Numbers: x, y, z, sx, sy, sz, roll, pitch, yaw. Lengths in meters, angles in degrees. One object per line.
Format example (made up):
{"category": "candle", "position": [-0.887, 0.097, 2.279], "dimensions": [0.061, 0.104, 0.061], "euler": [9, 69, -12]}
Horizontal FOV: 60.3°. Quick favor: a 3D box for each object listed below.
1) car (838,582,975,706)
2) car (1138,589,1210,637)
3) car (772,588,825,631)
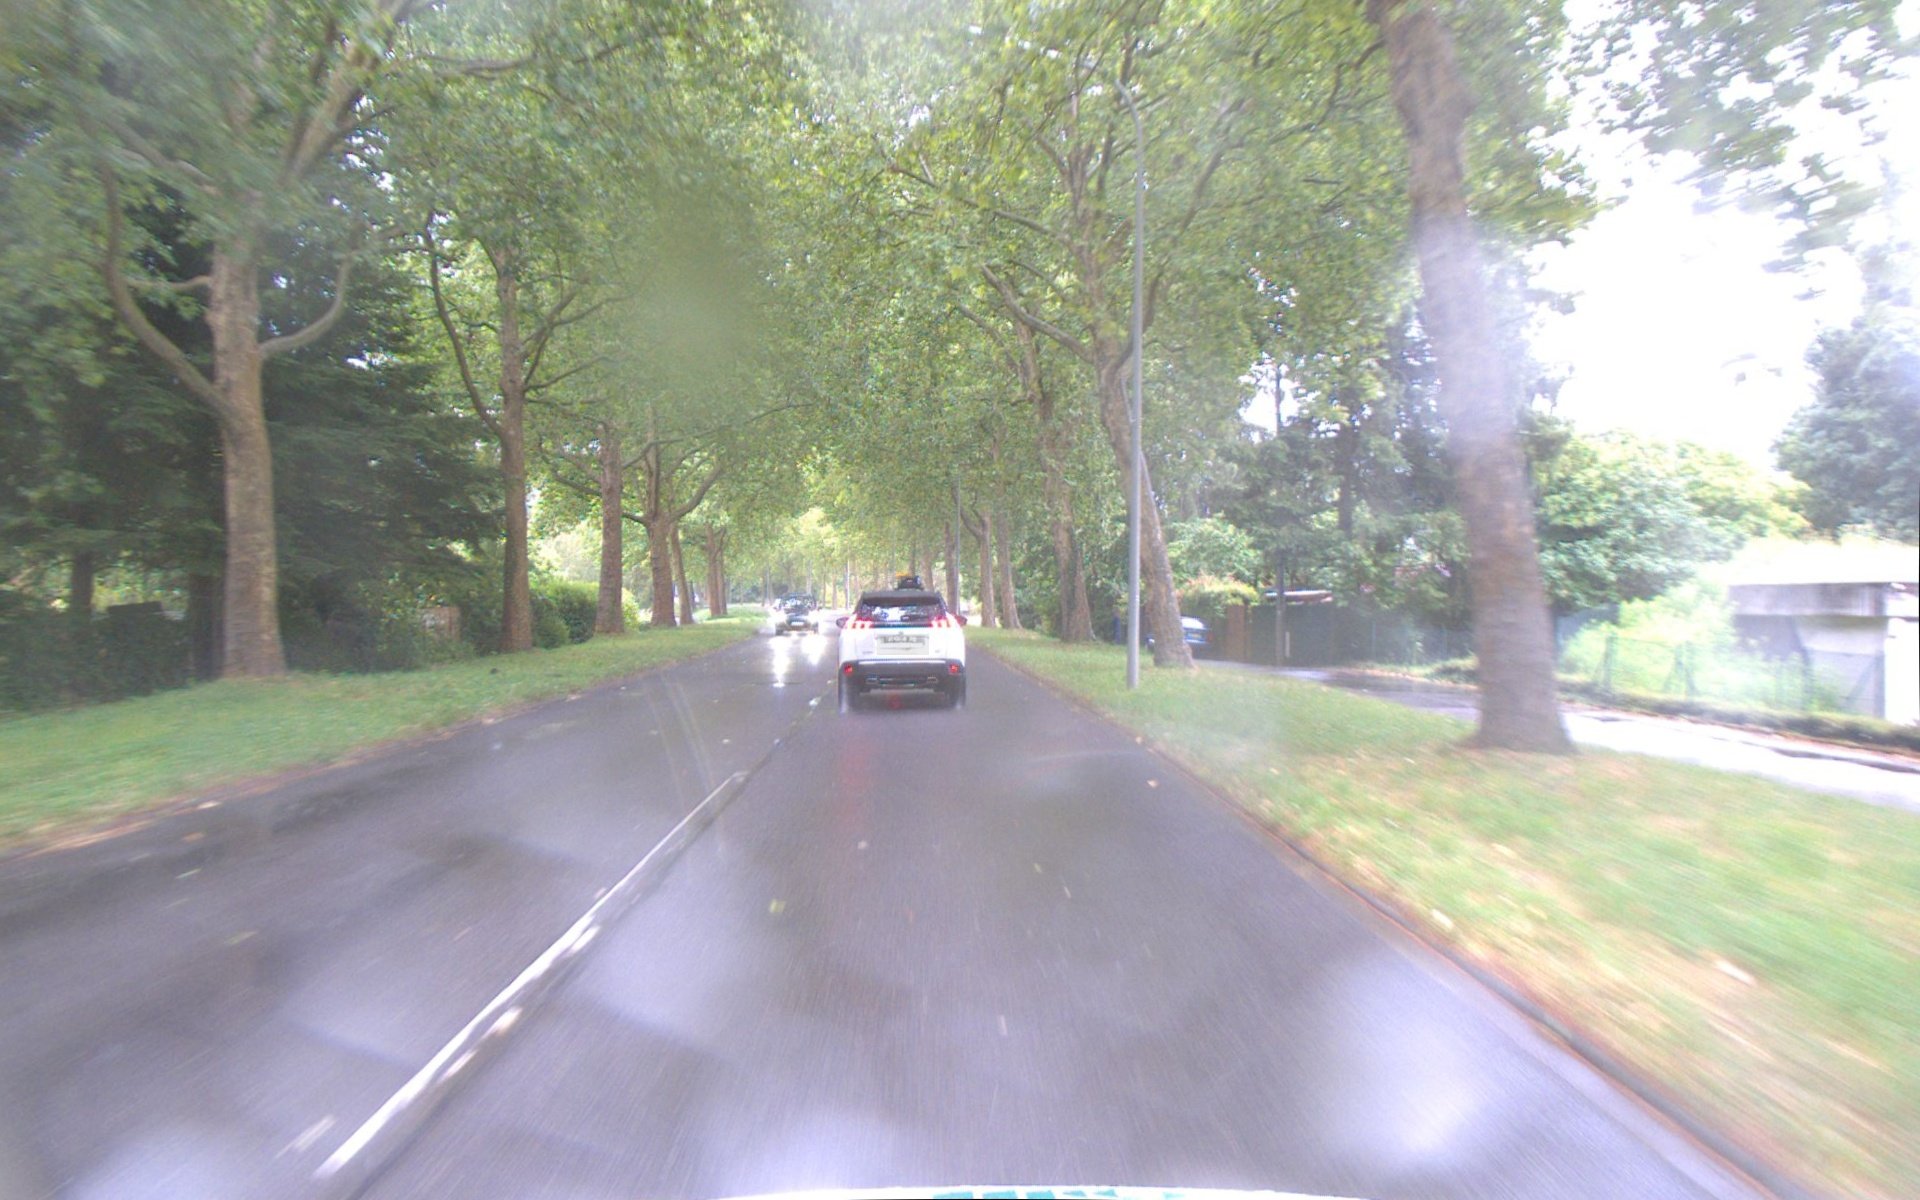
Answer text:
{"category": "car", "position": [-0.776, 0.588, 23.642], "dimensions": [1.744, 1.563, 4.055], "euler": [2, 0, -2]}
{"category": "car", "position": [7.302, 0.422, 56.743], "dimensions": [1.867, 1.536, 3.931], "euler": [1, 0, -1]}
{"category": "car", "position": [-6.574, 0.366, 67.720], "dimensions": [1.835, 1.706, 3.707], "euler": [0, 0, -1]}
